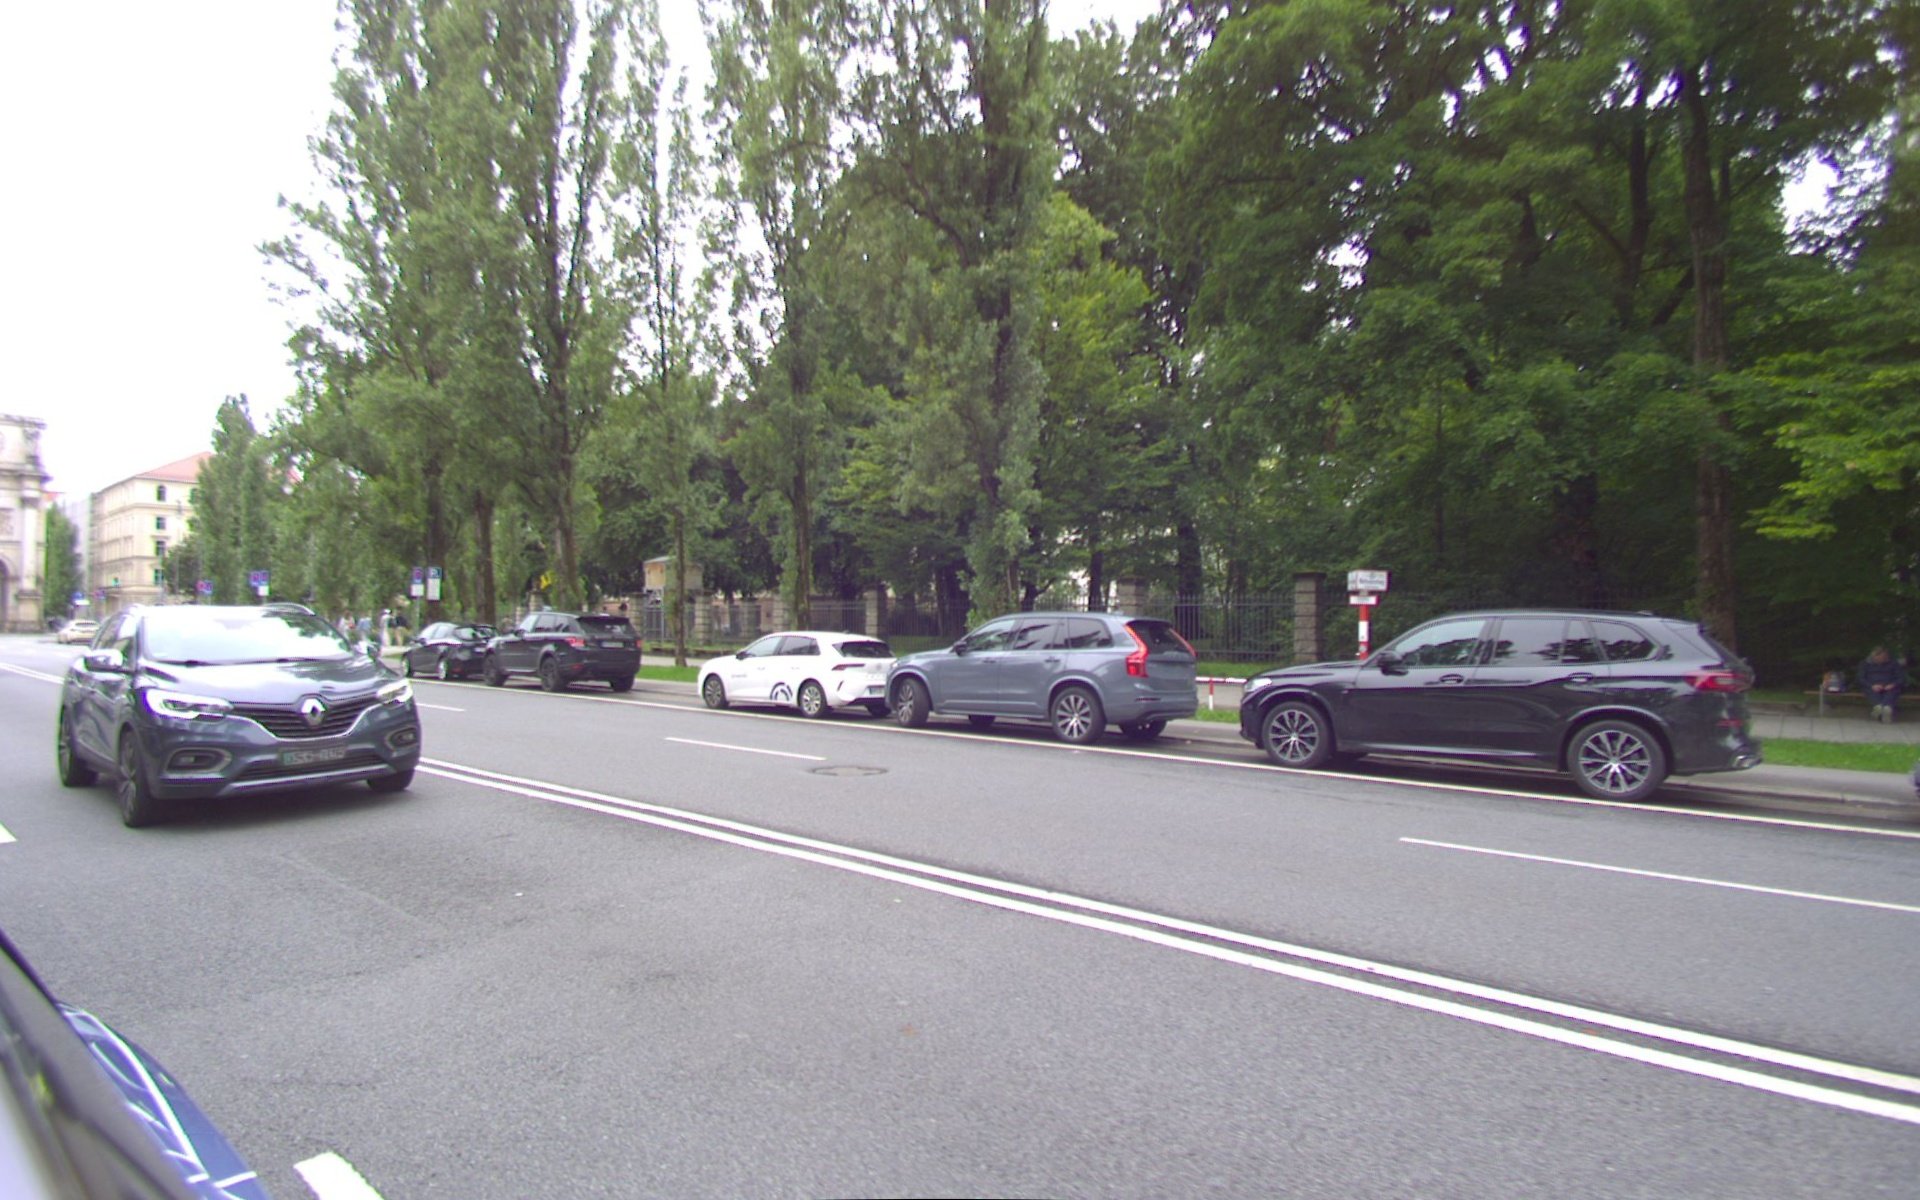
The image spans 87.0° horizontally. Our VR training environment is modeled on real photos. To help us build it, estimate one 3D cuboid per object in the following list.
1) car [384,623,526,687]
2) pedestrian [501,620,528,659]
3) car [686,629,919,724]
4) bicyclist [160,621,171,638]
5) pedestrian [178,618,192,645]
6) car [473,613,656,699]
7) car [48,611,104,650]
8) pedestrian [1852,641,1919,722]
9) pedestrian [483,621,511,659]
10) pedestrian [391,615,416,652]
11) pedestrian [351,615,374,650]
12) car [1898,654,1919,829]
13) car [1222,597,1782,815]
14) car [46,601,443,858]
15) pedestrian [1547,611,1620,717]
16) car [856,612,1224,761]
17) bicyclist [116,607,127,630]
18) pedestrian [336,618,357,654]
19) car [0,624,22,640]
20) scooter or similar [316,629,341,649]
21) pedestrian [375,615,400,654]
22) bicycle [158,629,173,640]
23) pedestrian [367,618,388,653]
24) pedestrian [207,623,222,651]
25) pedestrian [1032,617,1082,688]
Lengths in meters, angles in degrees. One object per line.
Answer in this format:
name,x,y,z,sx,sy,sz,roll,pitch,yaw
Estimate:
car,-13.919,1.485,27.800,4.387,1.596,1.924,-1,-4,42
pedestrian,-18.640,1.641,42.332,0.812,1.617,0.711,-1,-2,40
car,-2.872,1.295,17.923,4.270,1.470,1.686,-1,-4,41
bicyclist,-71.774,2.663,91.446,0.660,1.604,0.639,-1,-1,39
pedestrian,-51.450,2.083,67.169,0.581,1.744,0.527,-1,-2,30
car,-9.279,1.268,23.562,4.799,1.800,2.024,-1,-4,43
car,-53.517,1.815,61.248,4.470,1.345,1.774,16,8,39
pedestrian,14.623,1.258,15.876,0.922,1.187,0.957,-1,-1,41
pedestrian,-19.120,1.633,41.770,0.875,1.560,0.711,-1,-2,40
pedestrian,-27.355,1.662,49.753,1.092,1.786,0.702,-1,-2,40
pedestrian,-29.753,1.614,50.392,0.885,1.713,0.681,-2,-3,40
car,9.595,1.120,7.153,4.231,1.344,1.807,-1,-5,41
car,5.462,0.968,10.632,4.891,1.781,1.921,-1,-5,40
car,-6.073,0.835,8.385,4.184,1.598,1.816,-1,-1,42
pedestrian,10.727,1.083,17.418,0.956,1.755,0.659,-1,-3,42
car,0.994,1.150,14.666,5.176,1.803,1.889,-1,-5,41
bicyclist,-67.023,1.497,80.891,0.660,1.837,0.583,-1,-1,39
pedestrian,-30.216,1.761,49.840,0.907,1.760,0.623,-2,-3,40
car,-104.357,3.477,109.414,3.945,1.763,1.999,0,-2,1
scooter or similar,-37.777,2.317,60.517,1.413,1.187,0.738,-1,-4,36
pedestrian,-27.836,1.680,49.185,1.092,1.847,0.702,-1,-2,40
bicycle,-71.735,3.095,91.397,1.912,0.959,0.666,-1,-1,40
pedestrian,-29.310,1.773,50.923,0.910,1.729,0.653,-2,-3,40
pedestrian,-47.475,2.346,64.425,0.581,1.744,0.527,-1,-2,30
pedestrian,2.468,1.322,25.766,0.956,1.755,0.822,-1,-3,41
